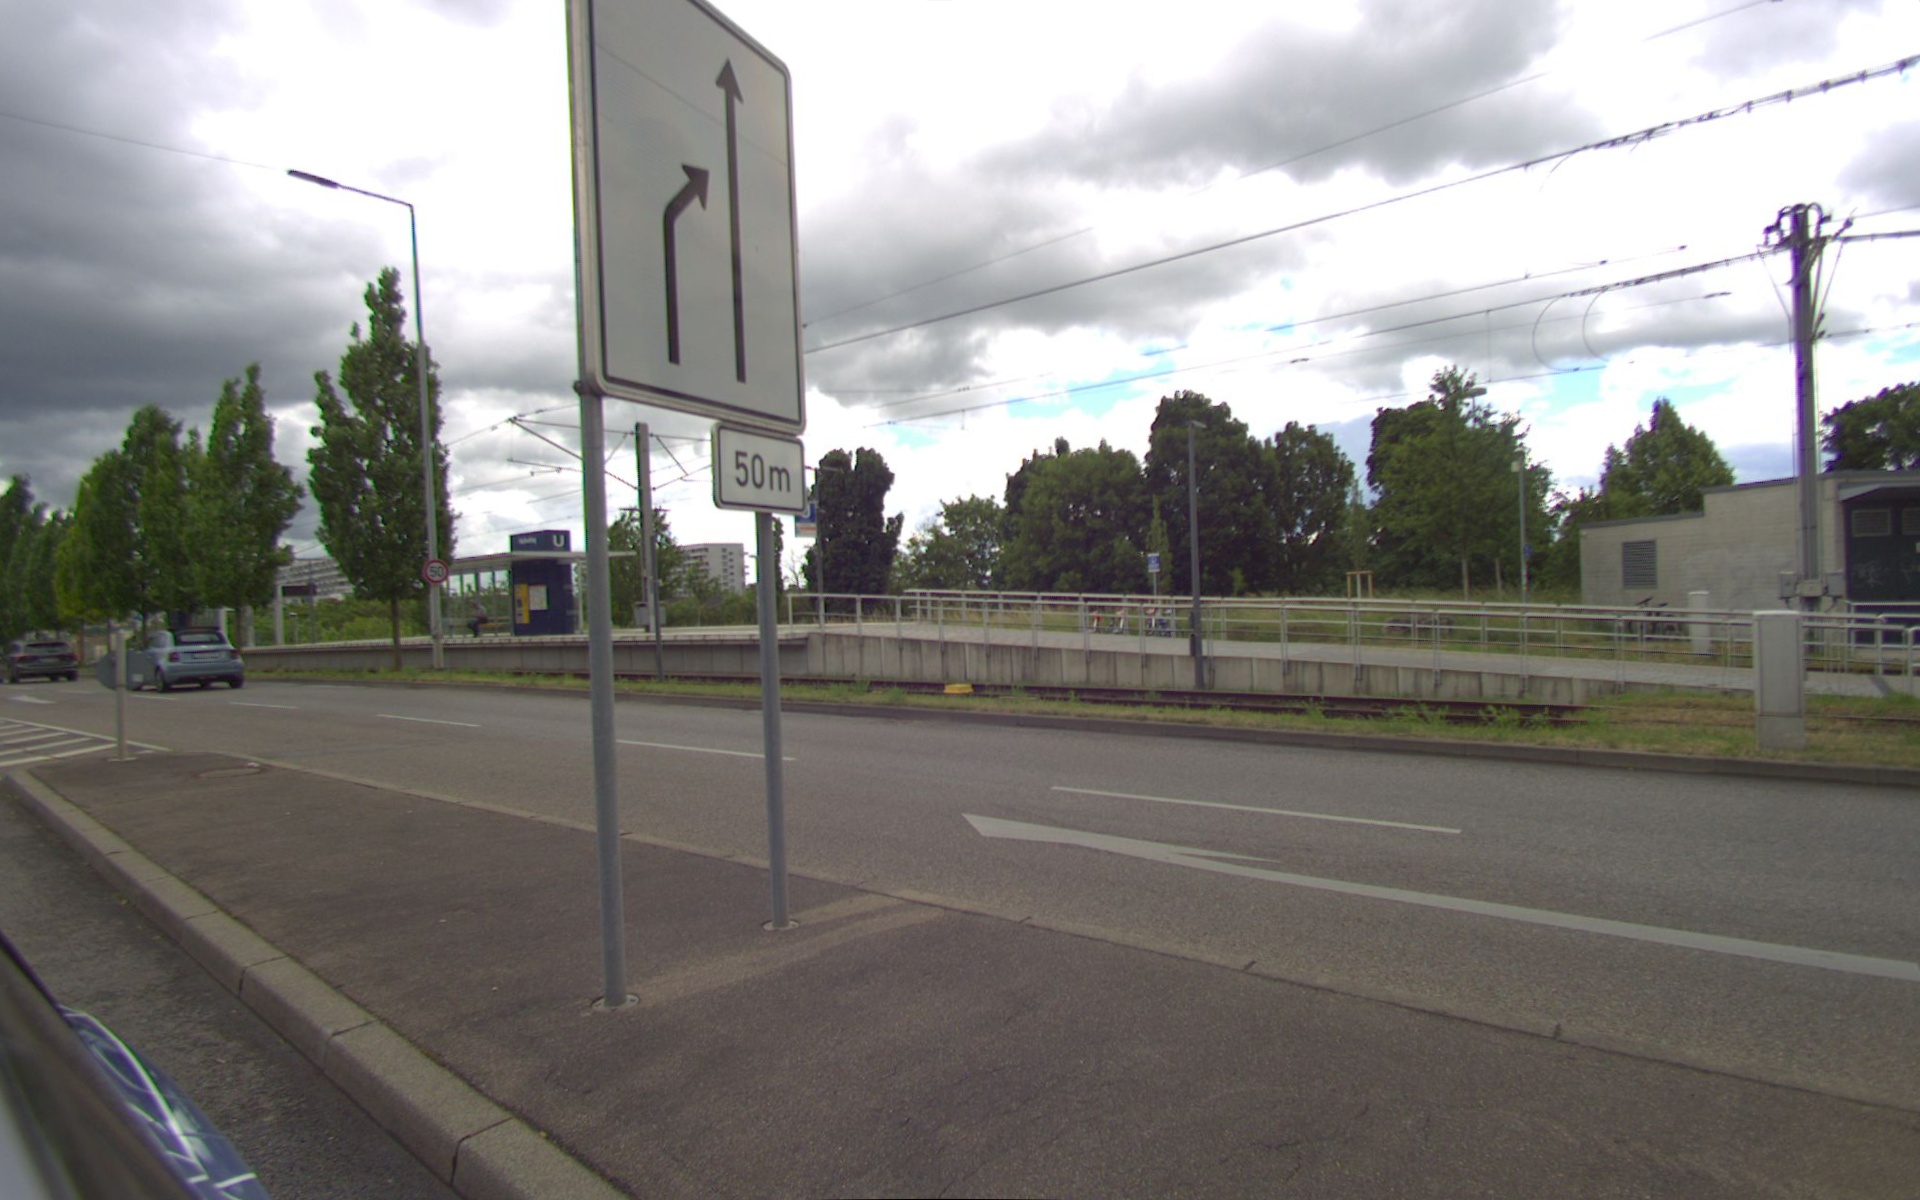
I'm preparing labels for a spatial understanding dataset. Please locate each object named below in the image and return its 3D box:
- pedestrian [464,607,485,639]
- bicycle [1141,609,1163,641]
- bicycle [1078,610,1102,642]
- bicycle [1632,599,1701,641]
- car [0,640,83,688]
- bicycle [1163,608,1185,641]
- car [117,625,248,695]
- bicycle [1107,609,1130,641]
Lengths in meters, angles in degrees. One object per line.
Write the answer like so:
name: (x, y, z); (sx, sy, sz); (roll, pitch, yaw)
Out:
pedestrian: (-18.187, 0.864, 37.913); (0.447, 1.163, 0.593); (-1, 0, 41)
bicycle: (6.453, 0.823, 33.988); (0.531, 1.039, 1.804); (-1, 0, 16)
bicycle: (4.482, 0.881, 34.863); (0.531, 1.039, 1.804); (-1, 0, 16)
bicycle: (18.189, 0.501, 26.101); (0.529, 1.039, 1.813); (-1, 0, 1)
car: (-32.224, 2.179, 35.064); (4.424, 1.435, 1.854); (-1, 0, 36)
bicycle: (7.127, 0.800, 33.665); (0.531, 1.039, 1.804); (-1, 0, 16)
car: (-19.288, 1.416, 25.063); (3.596, 1.540, 1.740); (-1, 0, 38)
bicycle: (5.397, 0.851, 34.441); (0.531, 1.039, 1.804); (-1, 0, 16)
